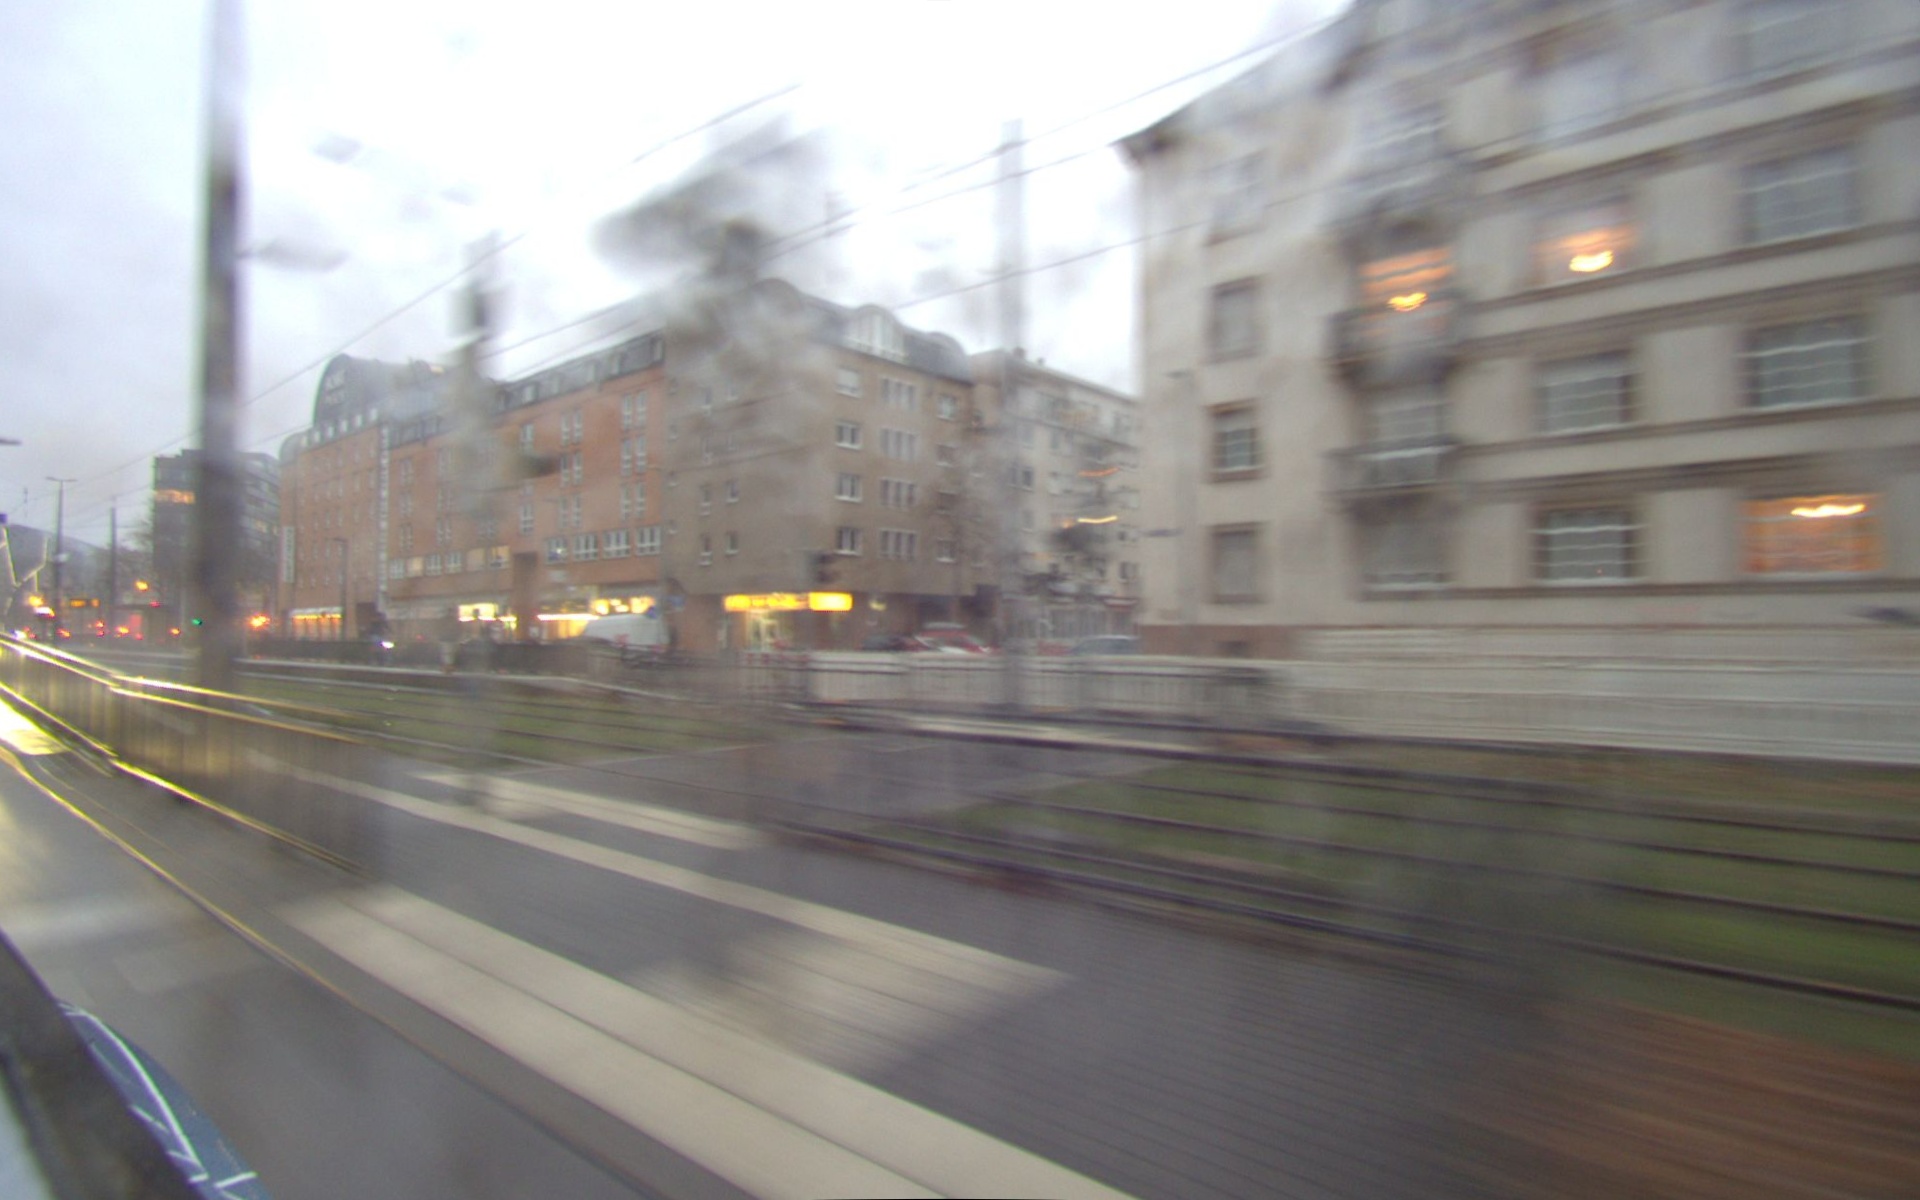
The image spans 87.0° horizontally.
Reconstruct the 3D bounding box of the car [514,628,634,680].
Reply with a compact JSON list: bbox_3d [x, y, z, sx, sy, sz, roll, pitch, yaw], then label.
[{"bbox_3d":[-11.021,1.490,28.806,3.543,1.364,1.665,-1,-1,40],"label":"car"}]

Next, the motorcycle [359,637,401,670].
[{"bbox_3d":[-18.533,1.697,32.324,1.803,1.016,0.508,-2,-1,37],"label":"motorcycle"}]

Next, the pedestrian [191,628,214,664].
[{"bbox_3d":[-33.274,2.014,44.461,0.756,1.536,0.628,-2,-1,41],"label":"pedestrian"}]

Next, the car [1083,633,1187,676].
[{"bbox_3d":[6.277,1.923,36.354,3.412,1.490,1.444,-1,-3,30],"label":"car"}]

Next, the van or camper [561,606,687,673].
[{"bbox_3d":[-14.972,1.680,44.807,2.740,2.702,6.761,-1,-1,-42],"label":"van or camper"}]

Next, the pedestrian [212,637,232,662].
[{"bbox_3d":[-32.950,2.211,45.174,0.591,1.111,0.600,-2,-1,41],"label":"pedestrian"}]

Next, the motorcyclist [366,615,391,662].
[{"bbox_3d":[-18.646,1.230,32.468,0.555,1.507,0.494,-2,-1,36],"label":"motorcyclist"}]

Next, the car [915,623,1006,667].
[{"bbox_3d":[0.003,2.183,49.094,4.127,2.050,1.730,-1,-3,30],"label":"car"}]

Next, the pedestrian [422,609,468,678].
[{"bbox_3d":[-13.792,1.154,27.133,0.811,1.793,0.798,-1,-1,-1],"label":"pedestrian"}]

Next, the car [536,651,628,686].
[{"bbox_3d":[-13.210,2.364,35.304,3.422,1.132,1.440,-2,-3,38],"label":"car"}]

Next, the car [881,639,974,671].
[{"bbox_3d":[-1.523,2.522,46.945,4.127,1.441,1.590,-1,-2,30],"label":"car"}]
